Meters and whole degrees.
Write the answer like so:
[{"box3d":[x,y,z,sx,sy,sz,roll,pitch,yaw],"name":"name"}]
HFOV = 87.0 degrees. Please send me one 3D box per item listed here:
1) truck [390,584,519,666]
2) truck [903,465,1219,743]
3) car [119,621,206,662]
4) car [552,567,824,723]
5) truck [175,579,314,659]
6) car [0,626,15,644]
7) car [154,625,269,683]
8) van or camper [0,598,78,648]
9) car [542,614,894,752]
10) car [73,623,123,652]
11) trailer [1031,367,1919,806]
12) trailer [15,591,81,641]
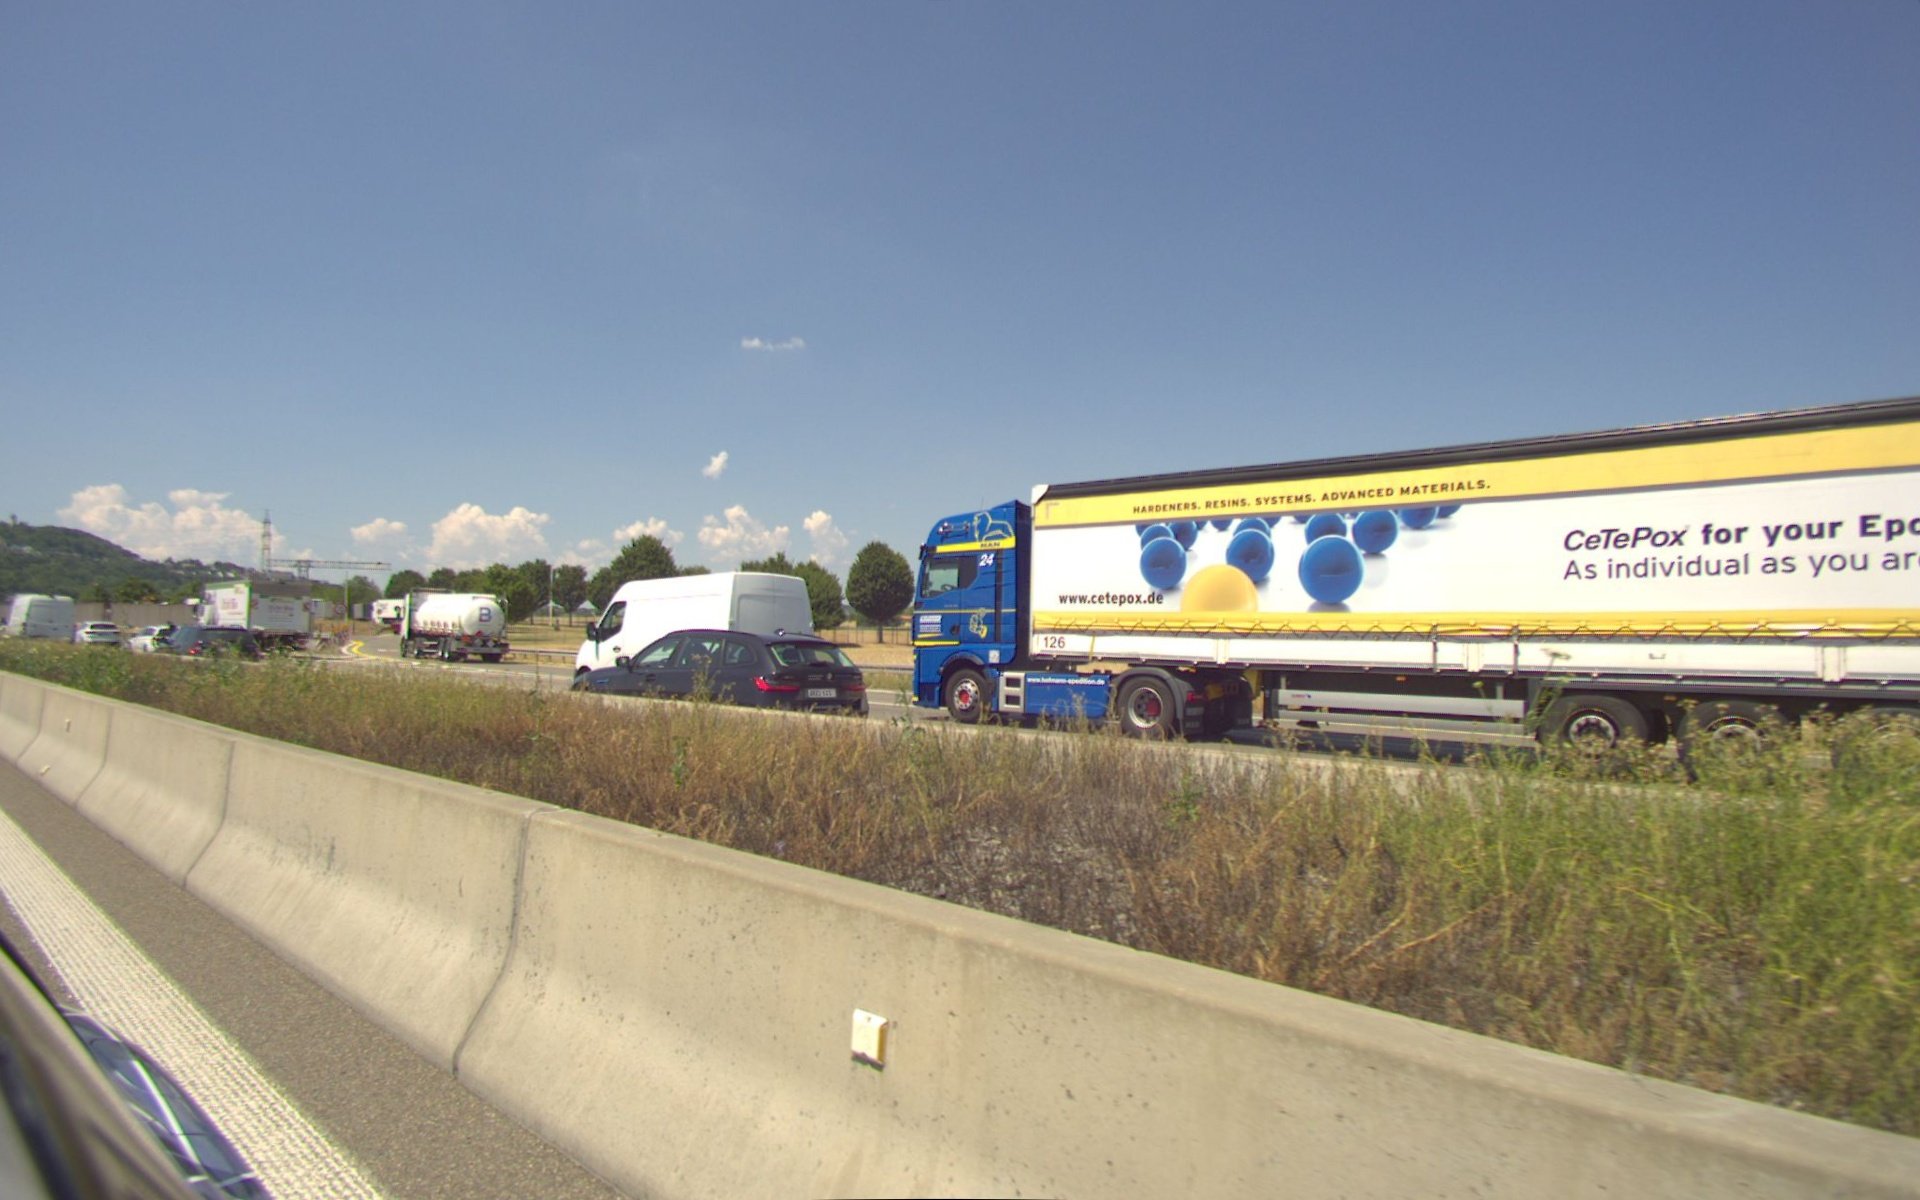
[{"box3d":[-26.993,1.409,53.519,2.863,3.806,13.309,5,-4,-40],"name":"truck"},{"box3d":[1.694,0.139,17.813,4.838,4.160,2.781,-2,-3,41],"name":"truck"},{"box3d":[-35.259,1.825,44.688,5.517,1.723,1.867,-1,-4,40],"name":"car"},{"box3d":[-5.264,0.811,19.032,5.808,2.520,2.025,-2,-3,41],"name":"car"},{"box3d":[-36.928,1.034,51.921,13.283,3.637,2.765,-1,-4,42],"name":"truck"},{"box3d":[-83.913,3.038,88.105,4.919,1.494,1.827,-1,-5,41],"name":"car"},{"box3d":[-20.752,1.456,27.996,4.530,1.480,1.581,-2,-3,41],"name":"car"},{"box3d":[-43.988,1.093,48.184,7.203,2.238,2.014,-1,-1,41],"name":"van or camper"},{"box3d":[-3.195,0.885,12.662,4.927,1.345,1.761,0,0,41],"name":"car"},{"box3d":[-50.466,2.160,59.220,4.042,1.635,1.543,-1,-3,40],"name":"car"},{"box3d":[7.386,-0.026,12.919,14.121,4.160,2.781,-2,-3,41],"name":"trailer"},{"box3d":[-86.078,1.581,95.422,12.986,4.408,2.862,-1,-4,41],"name":"trailer"}]
